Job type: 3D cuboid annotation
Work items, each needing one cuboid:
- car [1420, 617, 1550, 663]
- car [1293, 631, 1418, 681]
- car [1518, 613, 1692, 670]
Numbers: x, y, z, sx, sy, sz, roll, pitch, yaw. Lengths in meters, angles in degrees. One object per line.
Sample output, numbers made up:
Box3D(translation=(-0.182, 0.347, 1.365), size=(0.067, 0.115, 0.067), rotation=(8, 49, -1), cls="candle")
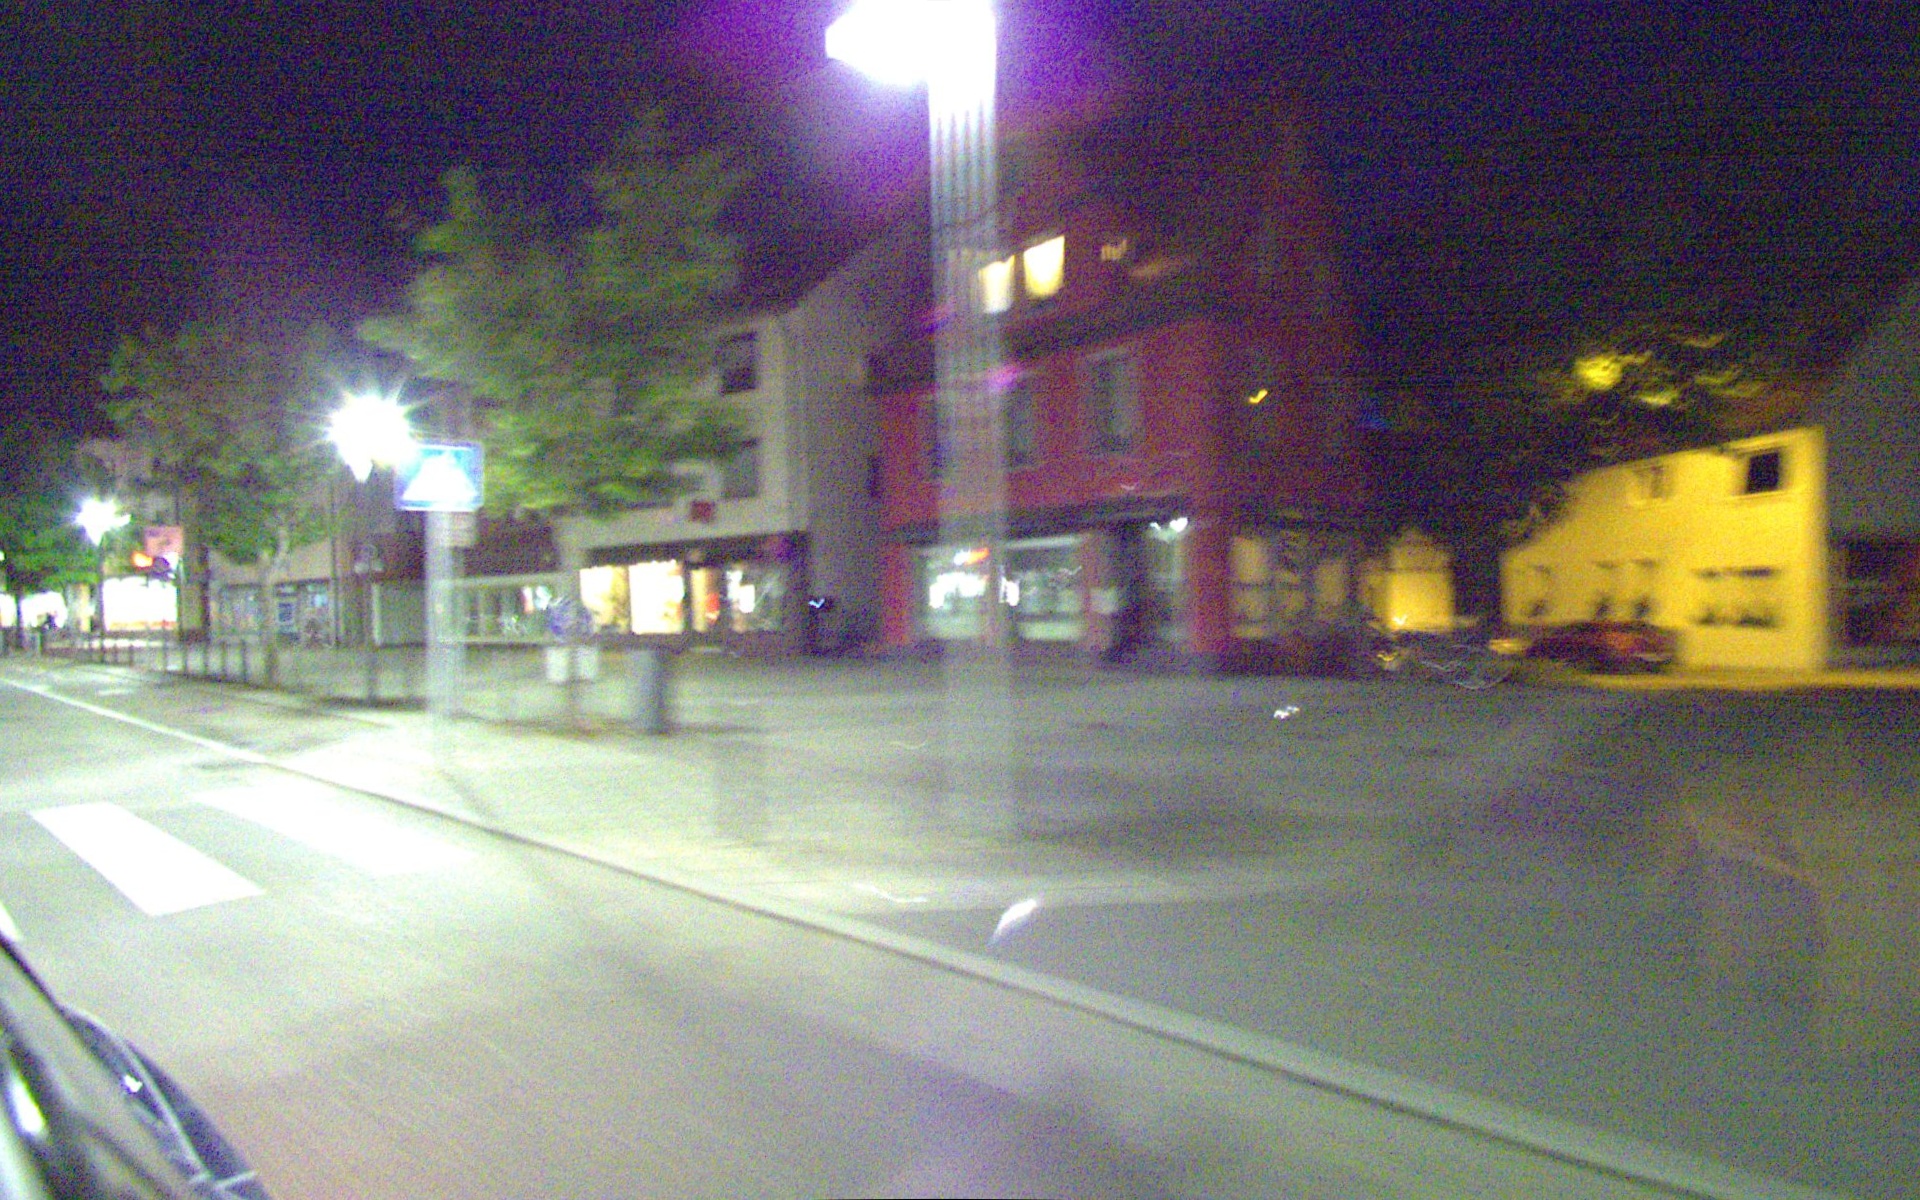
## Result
Box3D(translation=(16.654, 1.277, 32.348), size=(1.793, 1.386, 4.004), rotation=(0, -2, -5), cls="car")
Box3D(translation=(11.501, 1.607, 29.765), size=(1.793, 1.386, 4.004), rotation=(0, -2, -5), cls="car")
Box3D(translation=(16.975, 1.093, 26.905), size=(1.793, 1.386, 4.004), rotation=(0, -2, -5), cls="car")
